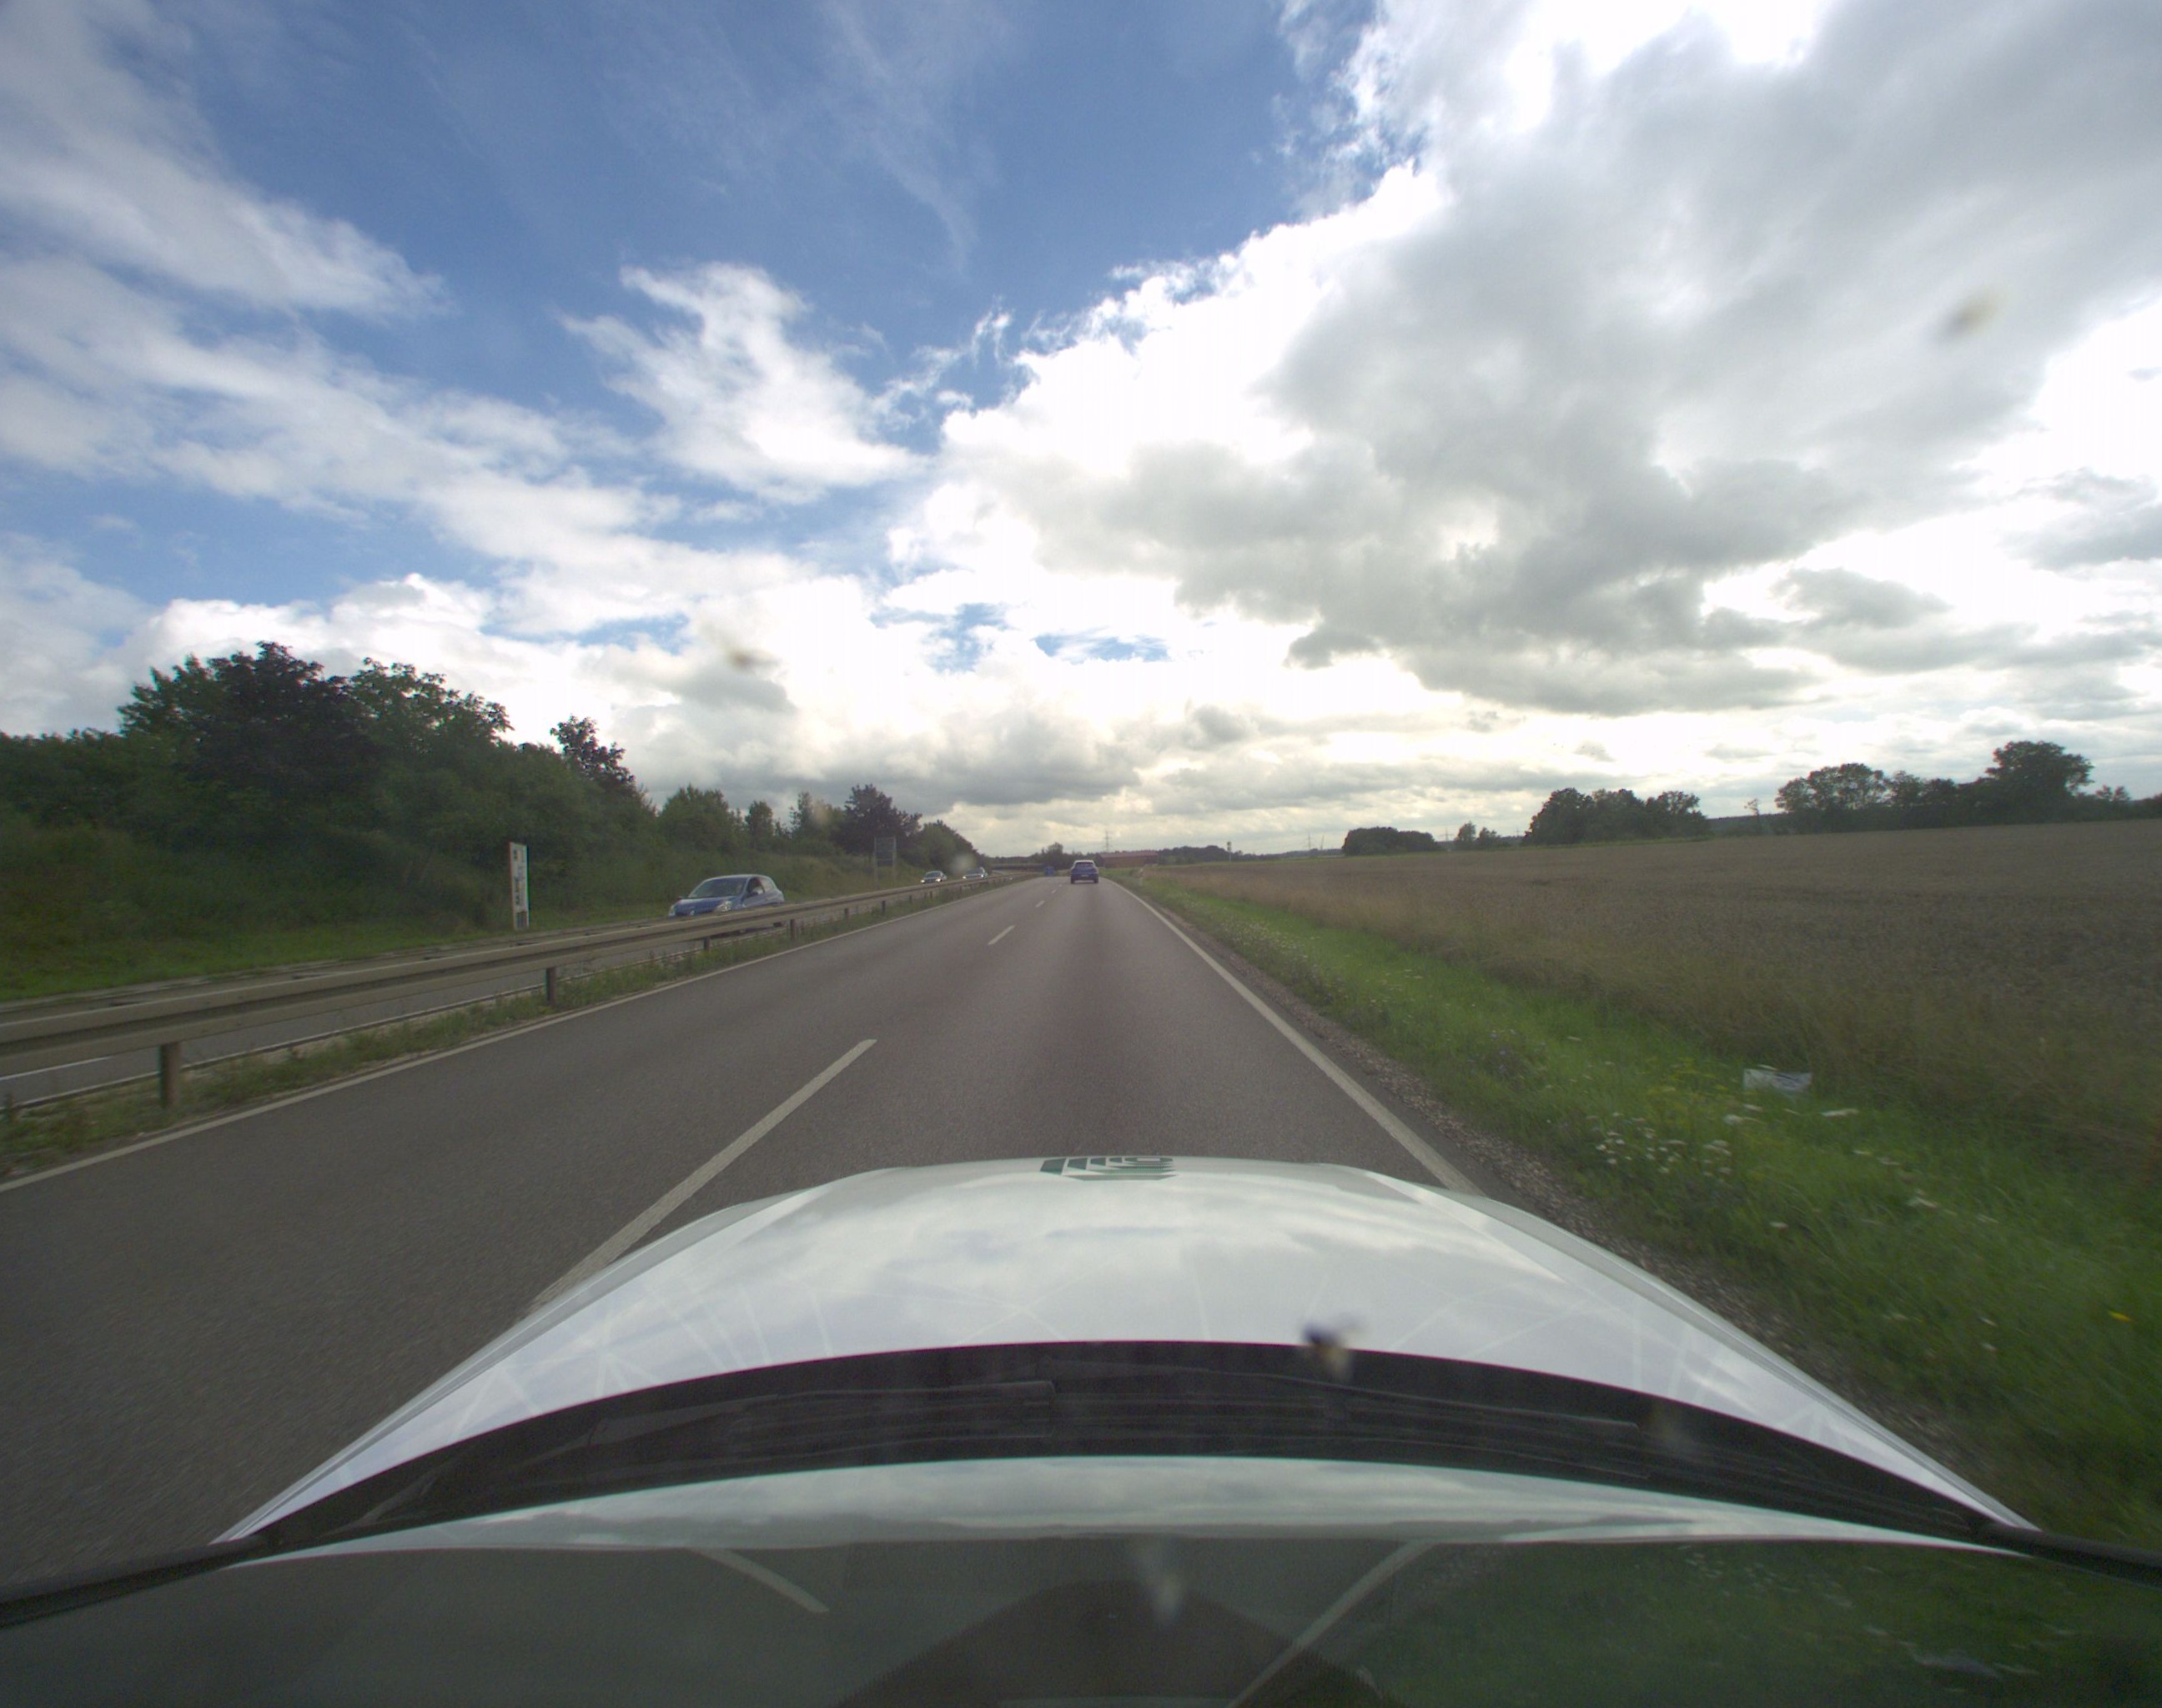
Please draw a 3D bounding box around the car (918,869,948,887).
[{"bbox_3d":[-12.728,2.055,70.147,1.685,1.324,4.417,-3,0,1],"label":"car"}]

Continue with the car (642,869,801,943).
[{"bbox_3d":[-9.079,1.237,21.019,2.078,1.519,4.195,-3,0,2],"label":"car"}]

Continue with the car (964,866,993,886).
[{"bbox_3d":[-8.478,1.787,67.693,1.748,1.486,4.577,-3,0,1],"label":"car"}]

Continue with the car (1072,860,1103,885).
[{"bbox_3d":[0.457,1.259,57.687,2.026,1.660,4.543,-1,0,0],"label":"car"}]
